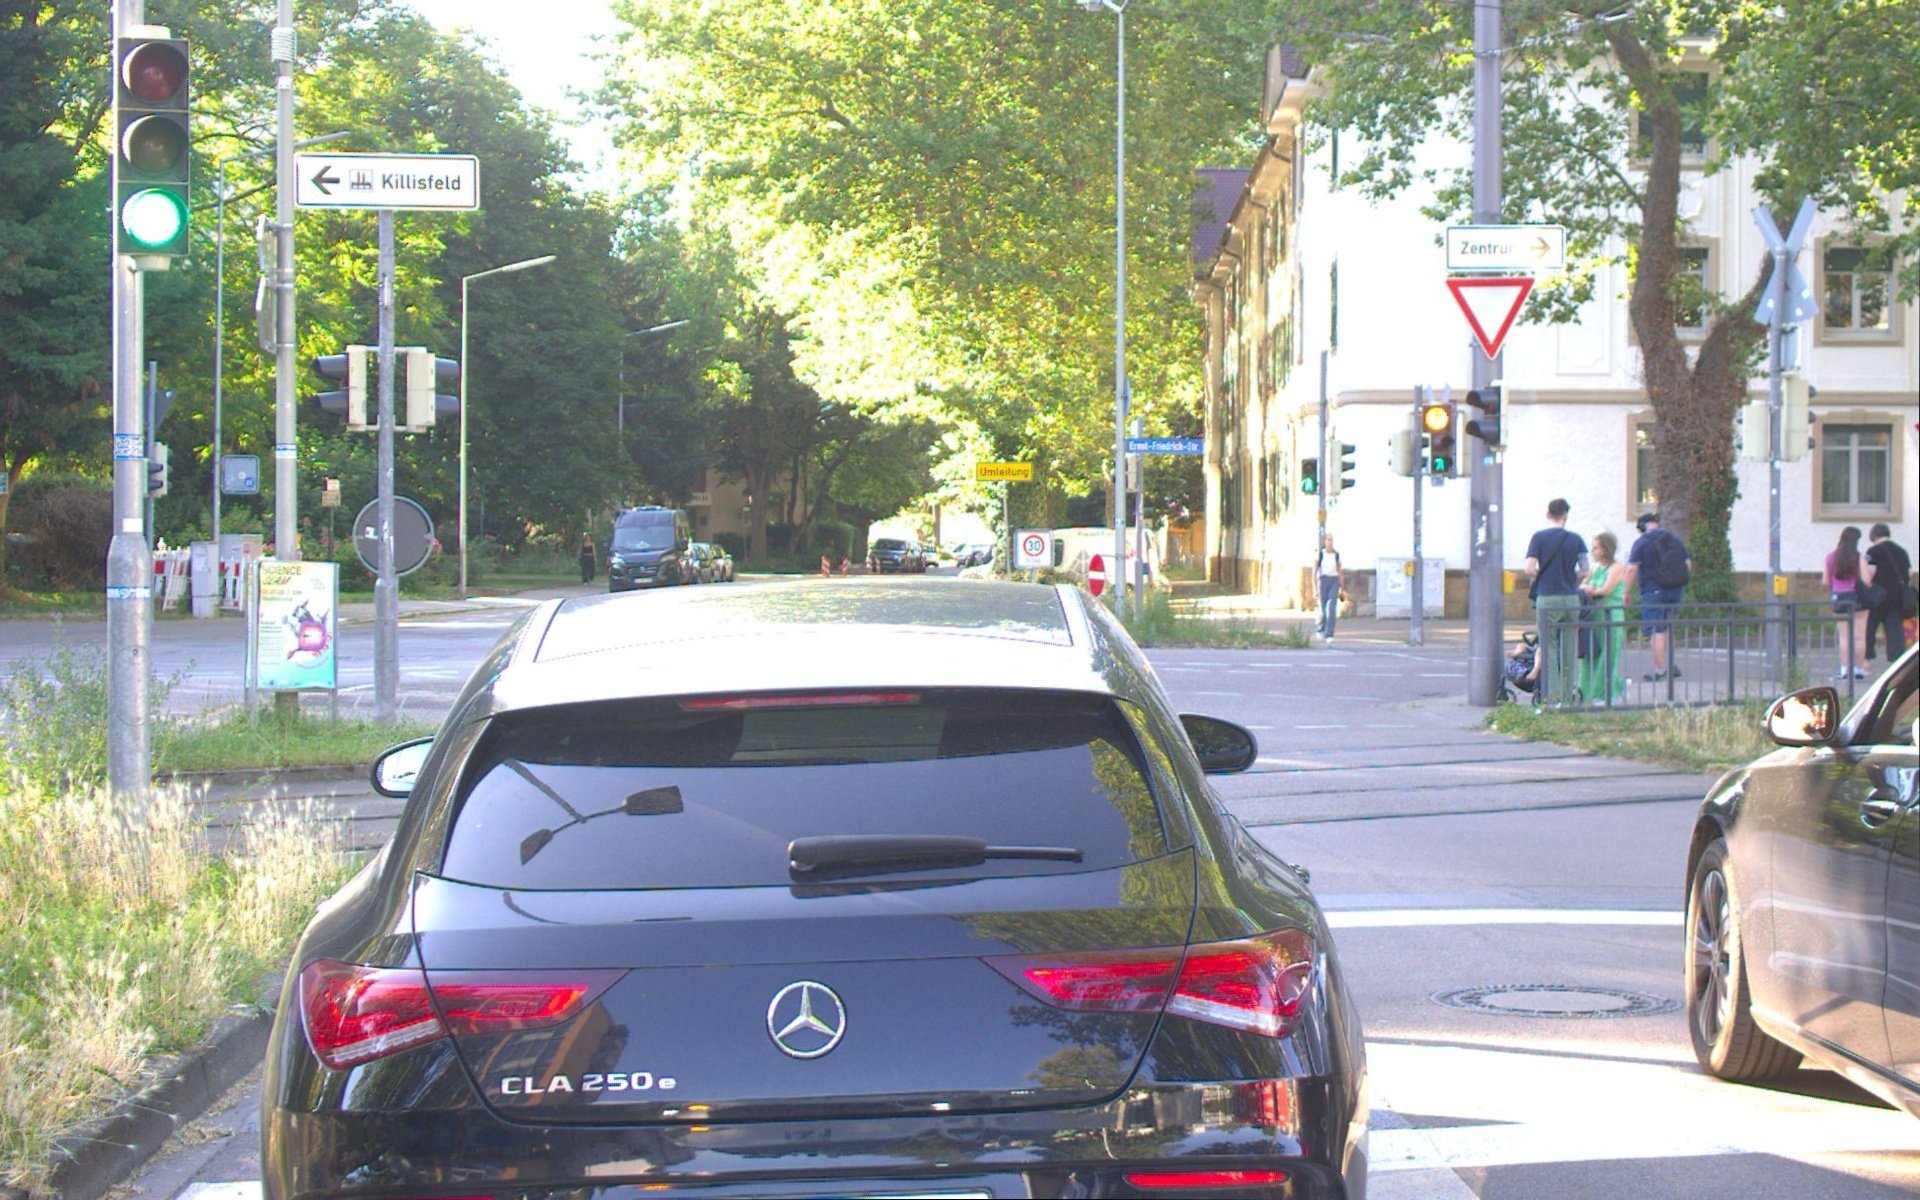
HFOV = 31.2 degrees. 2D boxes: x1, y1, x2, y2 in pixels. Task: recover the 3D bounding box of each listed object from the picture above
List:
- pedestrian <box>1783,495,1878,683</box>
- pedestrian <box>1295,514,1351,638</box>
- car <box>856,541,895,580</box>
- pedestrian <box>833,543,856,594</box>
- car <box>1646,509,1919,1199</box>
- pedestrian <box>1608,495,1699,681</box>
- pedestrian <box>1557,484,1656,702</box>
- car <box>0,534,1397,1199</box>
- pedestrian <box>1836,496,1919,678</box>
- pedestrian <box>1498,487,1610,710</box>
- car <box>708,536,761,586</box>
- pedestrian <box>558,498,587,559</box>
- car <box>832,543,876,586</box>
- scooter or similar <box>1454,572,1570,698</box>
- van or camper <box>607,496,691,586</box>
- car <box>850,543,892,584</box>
[{"bbox_3d":[9.020,-0.115,35.640,0.705,1.911,0.839,1,0,-4],"label":"pedestrian"},{"bbox_3d":[5.658,-0.380,53.664,0.705,1.911,0.839,1,0,-4],"label":"pedestrian"},{"bbox_3d":[-3.897,-1.798,158.438,1.733,1.759,4.019,1,0,-1],"label":"car"},{"bbox_3d":[-4.365,-1.184,129.998,0.705,1.911,0.839,1,0,-10],"label":"pedestrian"},{"bbox_3d":[2.872,0.617,7.346,1.889,1.485,4.382,1,3,0],"label":"car"},{"bbox_3d":[7.230,-0.126,35.854,0.705,1.911,0.839,1,0,-4],"label":"pedestrian"},{"bbox_3d":[5.756,-0.064,30.643,0.682,1.911,0.707,1,0,-4],"label":"pedestrian"},{"bbox_3d":[-0.344,0.674,6.636,1.889,1.445,4.001,1,3,1],"label":"car"},{"bbox_3d":[9.831,-0.142,36.640,0.705,1.911,0.839,1,0,-4],"label":"pedestrian"},{"bbox_3d":[5.144,-0.013,29.811,0.705,1.911,0.685,1,0,-15],"label":"pedestrian"},{"bbox_3d":[-8.272,-1.431,126.375,1.733,1.759,3.971,1,0,-1],"label":"car"},{"bbox_3d":[-12.201,-2.249,108.300,0.705,1.911,0.839,1,0,5],"label":"pedestrian"},{"bbox_3d":[-4.479,-1.489,145.535,1.733,1.759,4.019,1,0,-1],"label":"car"},{"bbox_3d":[4.926,0.307,30.706,0.828,1.101,0.809,1,0,-6],"label":"scooter or similar"},{"bbox_3d":[-8.993,-1.699,99.710,1.993,2.533,4.651,1,0,0],"label":"van or camper"},{"bbox_3d":[-3.876,-1.584,150.355,1.733,1.759,4.019,1,0,-1],"label":"car"}]
